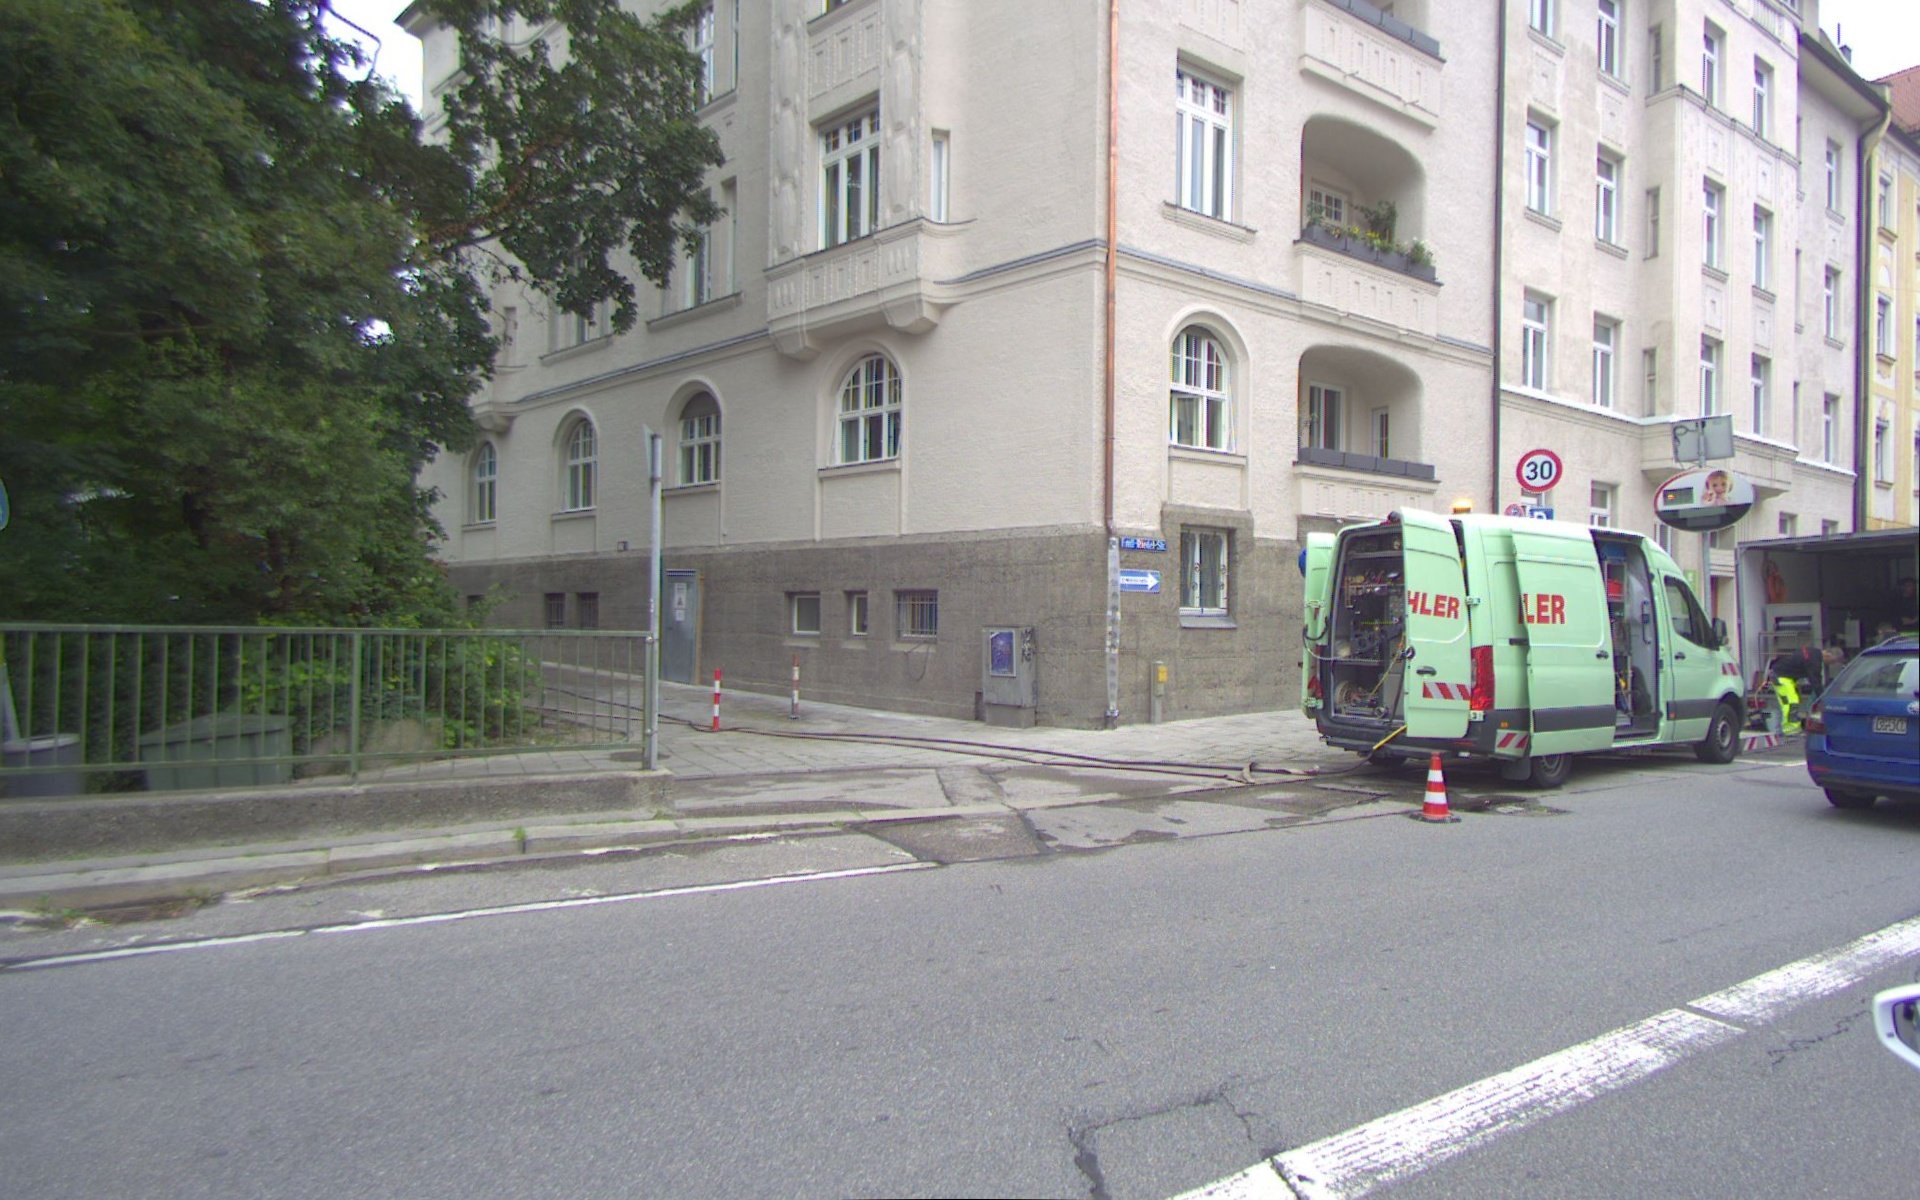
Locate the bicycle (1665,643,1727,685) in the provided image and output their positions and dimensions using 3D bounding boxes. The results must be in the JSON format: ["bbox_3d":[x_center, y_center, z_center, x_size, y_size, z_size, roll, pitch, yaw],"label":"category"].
[{"bbox_3d":[17.204,1.493,23.479,1.734,0.927,0.414,2,2,-28],"label":"bicycle"}]

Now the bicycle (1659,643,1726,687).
[{"bbox_3d":[16.625,1.473,22.785,1.565,0.927,0.394,2,2,-21],"label":"bicycle"}]

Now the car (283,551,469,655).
[{"bbox_3d":[-19.484,0.163,33.733,2.442,3.216,4.792,0,-2,33],"label":"car"}]

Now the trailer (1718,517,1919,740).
[{"bbox_3d":[15.763,0.467,16.300,7.510,3.007,2.791,0,-4,-31],"label":"trailer"}]

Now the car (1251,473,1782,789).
[{"bbox_3d":[6.332,0.323,10.996,6.719,2.606,2.129,1,-1,-32],"label":"car"}]

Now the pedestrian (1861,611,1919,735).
[{"bbox_3d":[12.886,0.985,13.759,0.752,1.652,0.634,0,-2,39],"label":"pedestrian"}]

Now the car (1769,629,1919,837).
[{"bbox_3d":[8.743,1.005,8.280,4.262,1.479,1.781,1,-1,-29],"label":"car"}]
